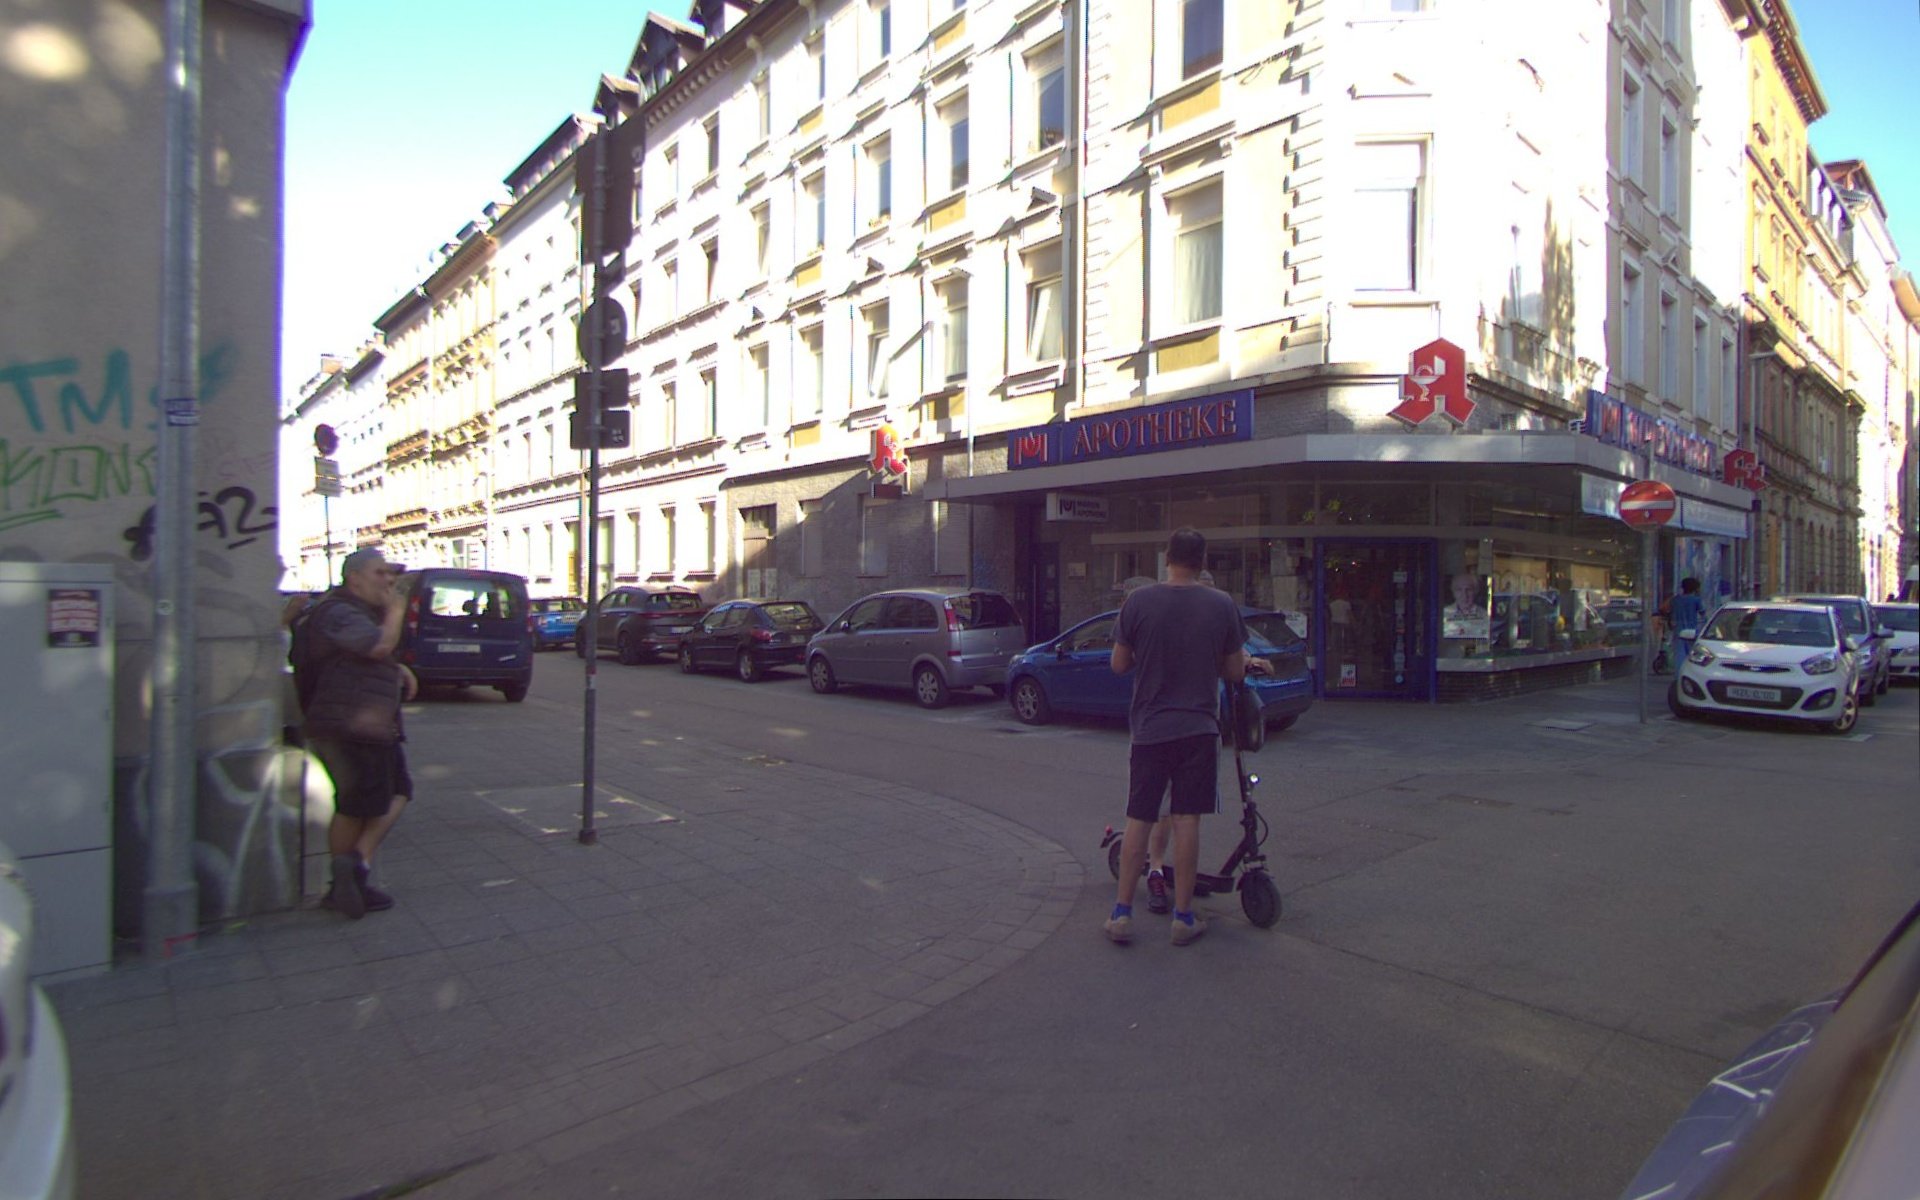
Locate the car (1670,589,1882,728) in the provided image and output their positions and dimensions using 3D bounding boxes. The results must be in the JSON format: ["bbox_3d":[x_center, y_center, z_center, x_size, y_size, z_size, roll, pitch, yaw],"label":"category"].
[{"bbox_3d":[10.416,0.629,12.833,3.581,1.481,1.690,-1,0,-45],"label":"car"}]

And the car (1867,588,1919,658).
[{"bbox_3d":[25.035,0.540,26.050,4.485,1.667,1.996,-1,0,-42],"label":"car"}]

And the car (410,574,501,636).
[{"bbox_3d":[-16.596,0.152,33.231,1.702,1.895,3.936,-1,0,-42],"label":"car"}]

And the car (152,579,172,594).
[{"bbox_3d":[-110.708,-1.885,140.330,1.965,1.939,3.993,-1,0,-41],"label":"car"}]

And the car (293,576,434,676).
[{"bbox_3d":[-11.065,0.393,18.653,1.559,1.631,3.935,-1,1,-41],"label":"car"}]

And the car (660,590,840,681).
[{"bbox_3d":[-3.984,0.568,18.776,1.532,1.473,3.984,-1,1,-41],"label":"car"}]

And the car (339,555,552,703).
[{"bbox_3d":[-7.650,0.378,14.868,1.835,1.864,3.932,3,-2,-41],"label":"car"}]

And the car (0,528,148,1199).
[{"bbox_3d":[-3.022,0.722,0.420,4.068,1.535,1.788,-1,0,-44],"label":"car"}]

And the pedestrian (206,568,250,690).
[{"bbox_3d":[-10.437,0.394,14.422,0.456,1.677,0.843,0,0,-40],"label":"pedestrian"}]

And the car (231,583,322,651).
[{"bbox_3d":[-17.757,0.387,26.236,1.559,1.626,3.579,-1,1,-41],"label":"car"}]

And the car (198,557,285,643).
[{"bbox_3d":[-21.475,-0.039,30.207,1.805,2.410,3.420,-1,1,-41],"label":"car"}]

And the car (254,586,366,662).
[{"bbox_3d":[-14.689,0.466,22.793,1.559,1.542,4.047,-1,1,-41],"label":"car"}]

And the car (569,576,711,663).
[{"bbox_3d":[-7.094,0.356,22.224,1.532,1.739,3.984,-1,1,-41],"label":"car"}]

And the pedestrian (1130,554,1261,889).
[{"bbox_3d":[1.217,0.605,5.305,0.555,1.659,0.528,-1,0,3],"label":"pedestrian"}]

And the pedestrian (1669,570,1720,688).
[{"bbox_3d":[12.280,0.469,16.922,0.521,1.918,0.562,0,0,-42],"label":"pedestrian"}]

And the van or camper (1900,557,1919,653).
[{"bbox_3d":[29.423,0.095,29.788,5.876,2.665,1.996,-1,0,-42],"label":"van or camper"}]

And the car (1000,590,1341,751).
[{"bbox_3d":[2.342,0.670,11.855,1.758,1.504,3.579,-2,2,-41],"label":"car"}]

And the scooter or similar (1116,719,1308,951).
[{"bbox_3d":[1.165,1.021,4.623,0.910,0.839,0.394,-1,0,-41],"label":"scooter or similar"}]

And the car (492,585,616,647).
[{"bbox_3d":[-10.899,0.398,27.069,1.966,1.545,3.632,-1,0,-42],"label":"car"}]

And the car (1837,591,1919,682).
[{"bbox_3d":[17.970,0.629,19.144,4.128,1.546,1.556,-1,0,-42],"label":"car"}]

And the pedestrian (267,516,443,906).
[{"bbox_3d":[-2.766,0.483,4.677,0.455,1.671,0.602,2,-1,-10],"label":"pedestrian"}]

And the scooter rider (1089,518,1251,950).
[{"bbox_3d":[0.920,0.559,4.552,0.554,1.801,0.611,-1,0,-2],"label":"scooter rider"}]

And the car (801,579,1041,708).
[{"bbox_3d":[-0.684,0.537,15.087,1.602,1.650,3.741,-2,2,-41],"label":"car"}]

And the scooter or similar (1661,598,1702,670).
[{"bbox_3d":[13.483,0.620,18.896,1.019,1.296,0.395,-1,0,-42],"label":"scooter or similar"}]

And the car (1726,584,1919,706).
[{"bbox_3d":[13.930,0.611,16.221,4.409,1.671,1.802,-1,0,-42],"label":"car"}]

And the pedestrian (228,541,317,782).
[{"bbox_3d":[-5.283,0.447,7.773,0.467,1.748,0.691,0,0,-42],"label":"pedestrian"}]

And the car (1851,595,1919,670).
[{"bbox_3d":[21.234,0.668,22.465,3.843,1.505,1.590,-1,0,-39],"label":"car"}]
